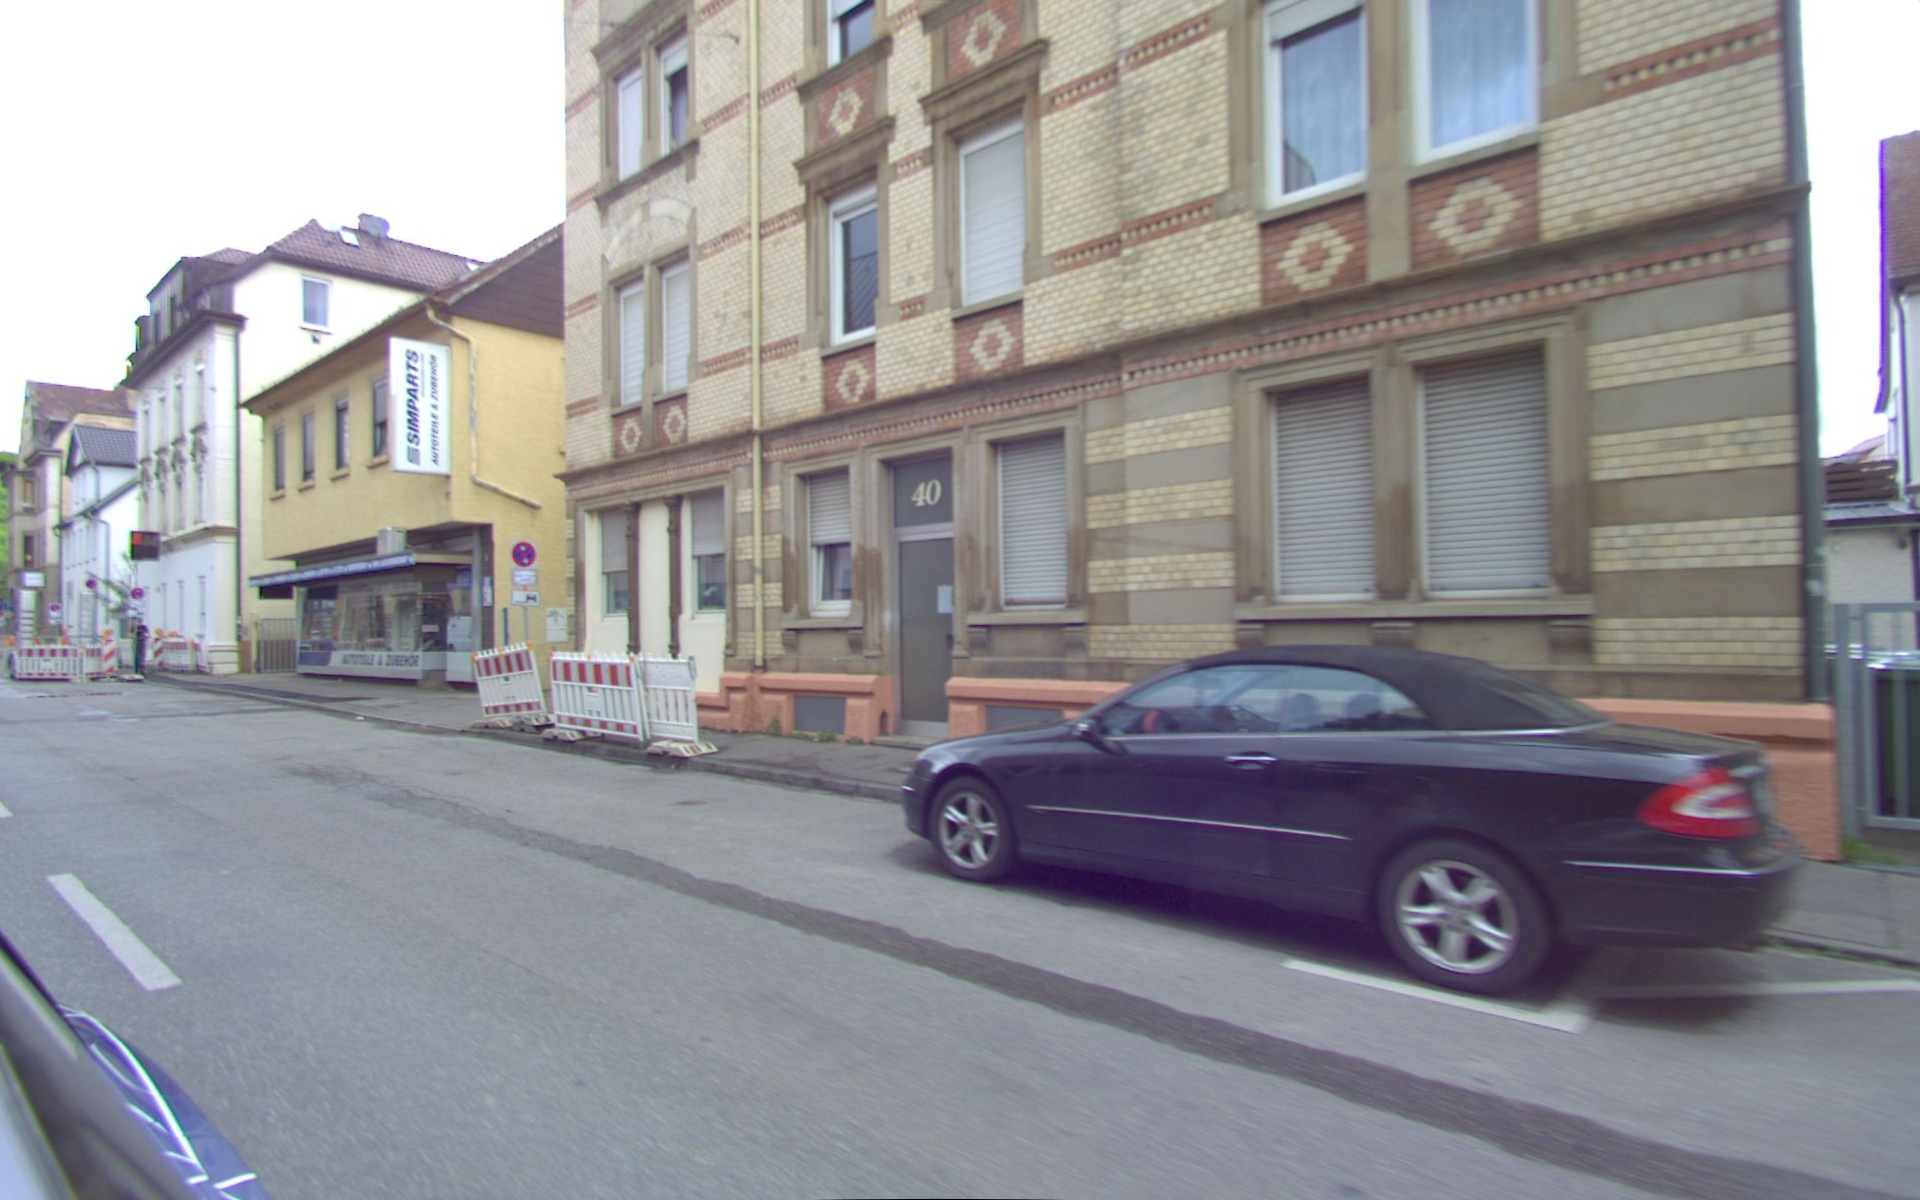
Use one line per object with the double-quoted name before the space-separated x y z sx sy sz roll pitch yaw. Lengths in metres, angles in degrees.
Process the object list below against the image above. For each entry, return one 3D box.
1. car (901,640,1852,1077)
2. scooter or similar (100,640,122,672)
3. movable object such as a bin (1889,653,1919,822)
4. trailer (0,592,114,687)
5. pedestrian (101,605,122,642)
"car" 1.770 0.918 5.327 4.353 1.393 1.562 -2 -3 42
"scooter or similar" -36.408 2.390 43.395 1.227 1.300 0.554 -1 -1 41
"movable object such as a bin" 6.502 0.887 6.556 0.667 1.057 0.498 -2 0 41
"trailer" -29.822 1.284 33.166 6.303 2.825 2.418 -2 -3 43
"pedestrian" -36.353 0.988 43.341 0.606 1.578 0.594 -1 -1 40
